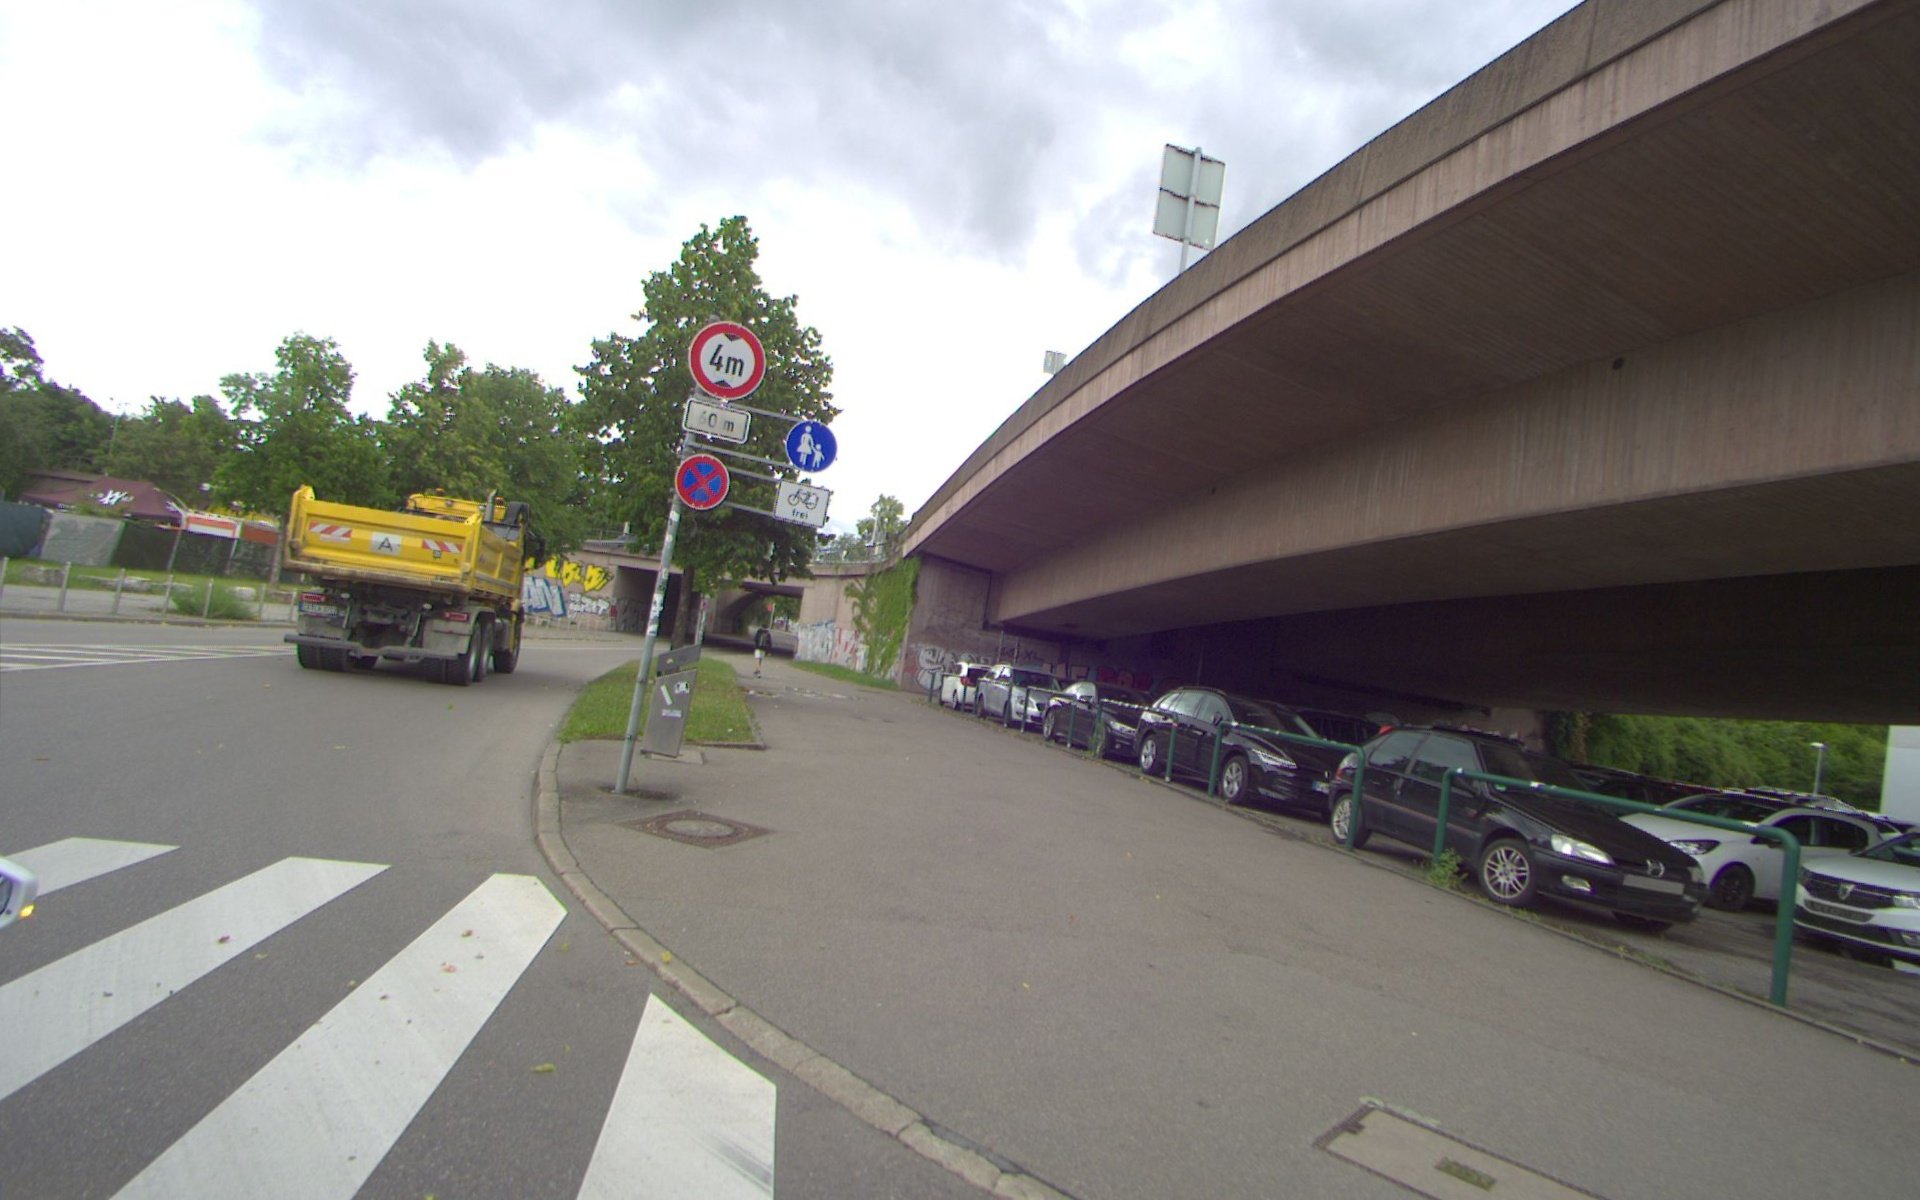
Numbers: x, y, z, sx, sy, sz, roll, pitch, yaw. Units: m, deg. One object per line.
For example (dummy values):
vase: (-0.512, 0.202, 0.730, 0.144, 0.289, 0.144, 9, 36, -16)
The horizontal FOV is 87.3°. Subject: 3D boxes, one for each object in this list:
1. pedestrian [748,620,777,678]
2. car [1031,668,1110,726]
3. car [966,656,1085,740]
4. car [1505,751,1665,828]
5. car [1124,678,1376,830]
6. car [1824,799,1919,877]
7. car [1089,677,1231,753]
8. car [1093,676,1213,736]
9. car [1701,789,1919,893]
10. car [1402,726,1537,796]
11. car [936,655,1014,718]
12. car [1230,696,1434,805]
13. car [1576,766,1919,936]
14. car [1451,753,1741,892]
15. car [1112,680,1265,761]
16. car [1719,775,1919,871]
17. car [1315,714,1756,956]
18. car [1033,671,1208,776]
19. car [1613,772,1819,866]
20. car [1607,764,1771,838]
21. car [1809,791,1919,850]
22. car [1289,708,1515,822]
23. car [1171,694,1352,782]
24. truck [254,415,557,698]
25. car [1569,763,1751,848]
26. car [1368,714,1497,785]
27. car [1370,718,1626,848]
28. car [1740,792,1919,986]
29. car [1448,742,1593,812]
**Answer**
pedestrian: (-6.989, 1.729, 35.635, 0.725, 1.928, 0.824, 9, -2, -12)
car: (3.741, 3.293, 34.747, 1.719, 1.515, 4.000, 9, -3, -5)
car: (1.540, 2.365, 25.122, 1.593, 1.552, 4.061, 10, -3, -14)
car: (17.928, 5.430, 28.930, 3.604, 1.443, 1.677, 10, -2, -10)
car: (3.908, 2.054, 14.396, 1.487, 1.435, 4.244, 11, -4, -11)
car: (24.280, 6.132, 25.097, 4.124, 1.481, 1.836, 10, -2, -10)
car: (6.216, 3.577, 31.392, 3.807, 1.656, 1.753, 10, -2, -16)
car: (7.038, 3.861, 36.776, 3.807, 1.494, 1.753, 10, -2, -16)
car: (18.948, 5.332, 22.318, 3.800, 1.443, 1.836, 10, -2, -10)
car: (17.120, 5.409, 33.867, 3.604, 1.616, 1.677, 10, -2, -10)
car: (0.411, 2.580, 30.552, 1.554, 1.455, 3.374, 10, -3, -10)
car: (8.281, 3.344, 22.472, 3.807, 1.712, 1.753, 10, -2, -16)
car: (10.661, 3.385, 13.654, 3.807, 1.526, 1.693, 10, -2, -16)
car: (10.084, 3.520, 16.007, 3.807, 1.459, 1.693, 10, -2, -16)
car: (6.643, 3.492, 29.284, 3.807, 1.656, 1.753, 10, -2, -16)
car: (24.253, 6.225, 27.942, 5.024, 1.695, 2.089, 10, -2, -10)
car: (5.107, 2.026, 9.569, 1.486, 1.343, 3.696, 11, -3, -9)
car: (2.911, 2.273, 19.303, 1.744, 1.335, 4.369, 10, -3, -11)
car: (18.552, 5.362, 24.763, 3.800, 1.443, 1.836, 10, -2, -10)
car: (23.419, 6.449, 32.375, 4.124, 1.481, 1.836, 10, -2, -10)
car: (32.910, 7.946, 35.793, 4.124, 1.424, 1.836, 10, -2, -10)
car: (8.896, 3.310, 20.302, 3.807, 1.572, 1.753, 10, -2, -16)
car: (7.425, 3.407, 24.860, 3.807, 1.450, 1.753, 10, -2, -16)
truck: (-9.638, -0.541, 18.648, 2.727, 3.738, 7.860, 9, -3, -16)
car: (18.592, 5.455, 26.778, 3.800, 1.443, 1.677, 10, -2, -10)
car: (16.976, 5.356, 36.191, 3.604, 1.808, 1.881, 10, -2, -10)
car: (9.583, 3.249, 17.983, 3.807, 1.572, 1.693, 10, -2, -16)
car: (10.861, 3.238, 10.858, 3.950, 1.569, 1.636, 10, -2, -13)
car: (17.577, 5.538, 31.609, 3.604, 1.443, 1.677, 10, -2, -10)
